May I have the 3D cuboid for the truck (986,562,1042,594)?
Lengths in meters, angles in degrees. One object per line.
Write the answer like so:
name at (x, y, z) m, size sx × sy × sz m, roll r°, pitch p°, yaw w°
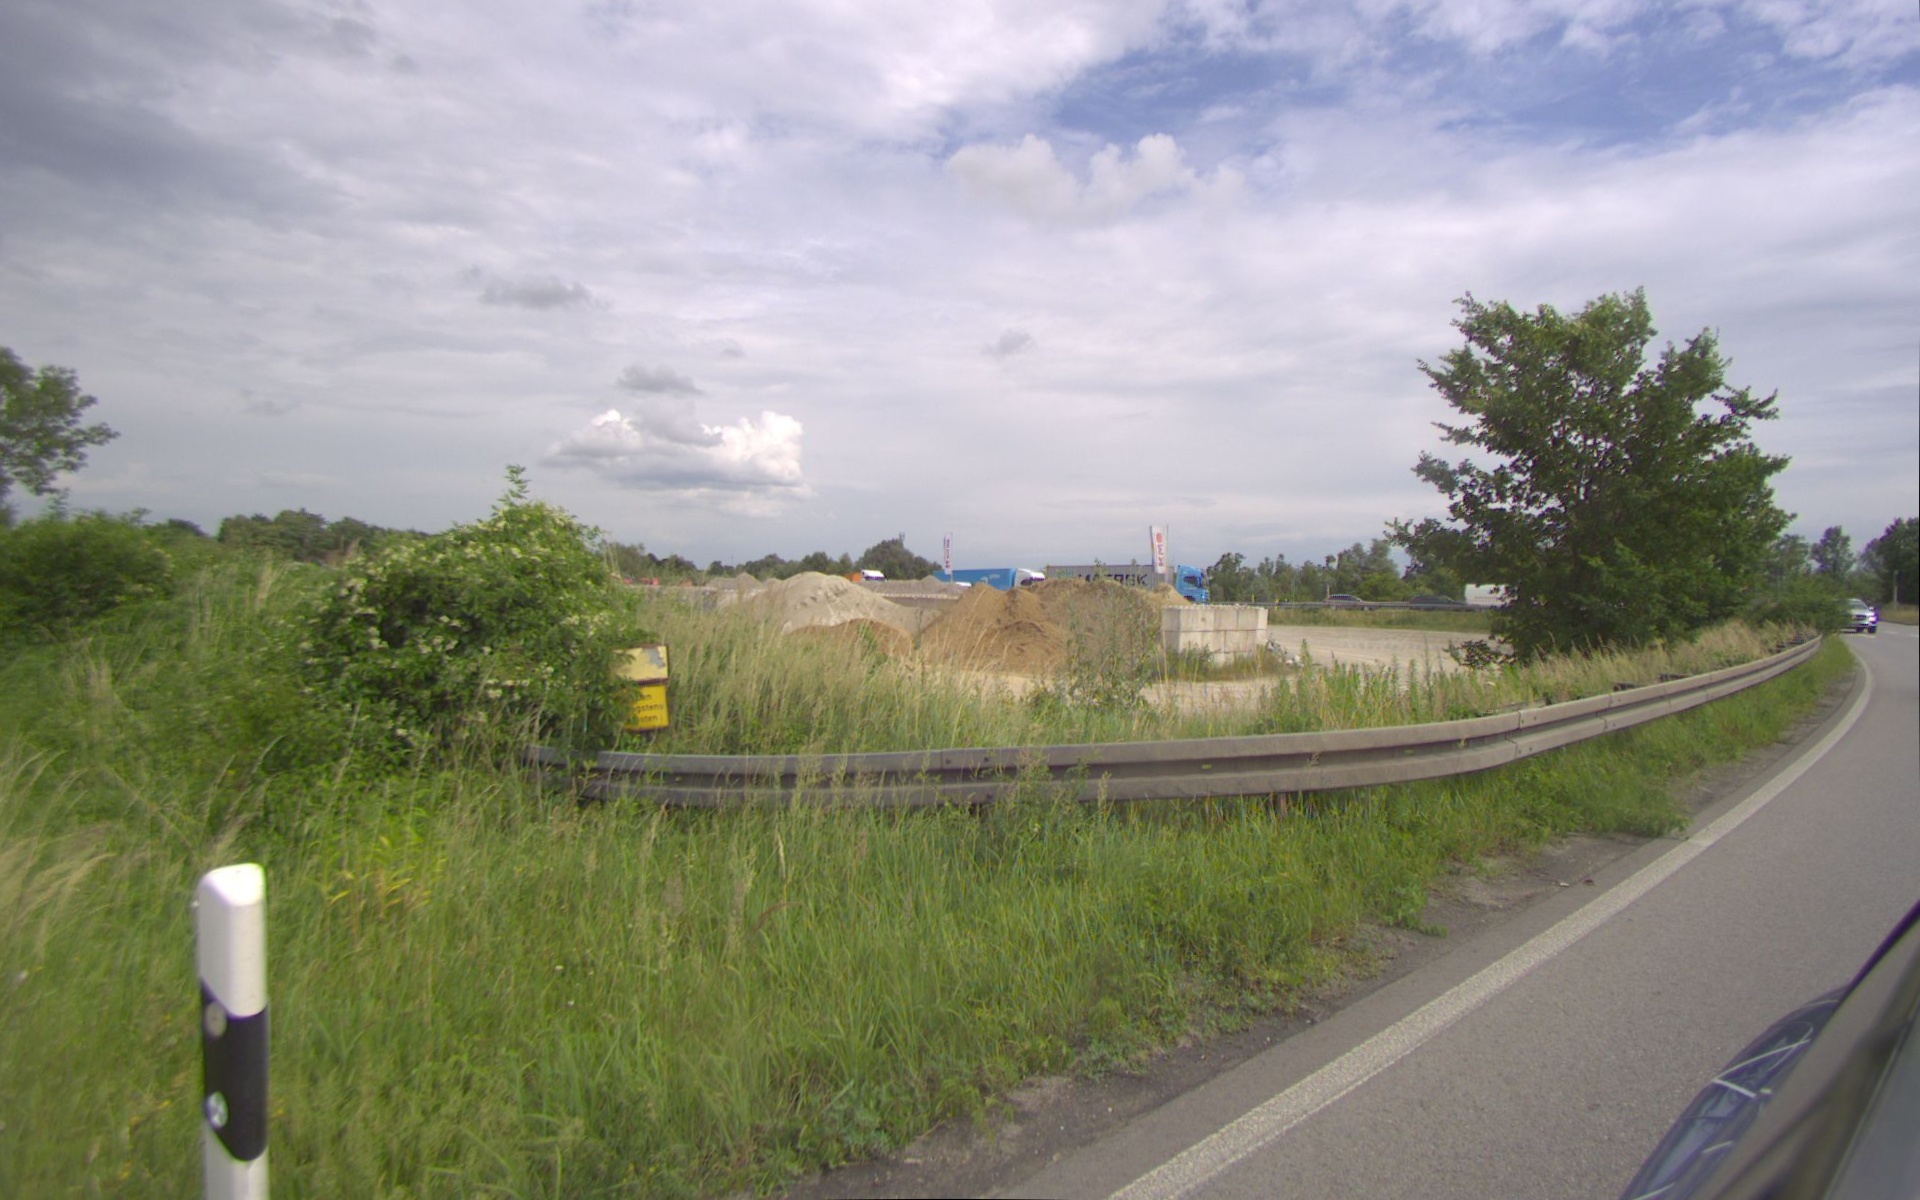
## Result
truck at (5.576, -2.222, 105.145) m, size 2.349 × 3.093 × 5.978 m, roll 1°, pitch -1°, yaw -39°

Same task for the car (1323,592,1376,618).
car at (32.718, 0.414, 85.056) m, size 3.965 × 2.039 × 1.911 m, roll 2°, pitch 0°, yaw 29°

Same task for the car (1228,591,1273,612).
car at (28.794, 0.156, 100.339) m, size 3.964 × 2.039 × 1.911 m, roll 0°, pitch -1°, yaw 29°

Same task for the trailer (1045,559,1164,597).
trailer at (13.456, -1.975, 95.086) m, size 11.151 × 3.352 × 2.363 m, roll 0°, pitch -1°, yaw 34°

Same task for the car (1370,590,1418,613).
car at (40.262, 0.131, 93.939) m, size 3.964 × 2.039 × 1.911 m, roll 0°, pitch -1°, yaw 29°

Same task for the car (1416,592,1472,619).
car at (39.004, 0.411, 81.497) m, size 3.965 × 2.039 × 1.911 m, roll 2°, pitch 0°, yaw 29°

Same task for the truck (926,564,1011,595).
truck at (0.772, -2.142, 111.047) m, size 2.349 × 3.093 × 11.744 m, roll 1°, pitch -1°, yaw -39°

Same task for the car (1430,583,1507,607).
car at (43.832, -0.415, 87.258) m, size 5.845 × 2.039 × 2.040 m, roll 0°, pitch -1°, yaw 29°

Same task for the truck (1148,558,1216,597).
truck at (19.940, -1.994, 91.045) m, size 5.547 × 3.347 × 2.367 m, roll 0°, pitch -1°, yaw 30°

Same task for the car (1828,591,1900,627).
car at (43.179, 0.429, 48.415) m, size 2.008 × 1.633 × 4.227 m, roll 0°, pitch 0°, yaw 34°
